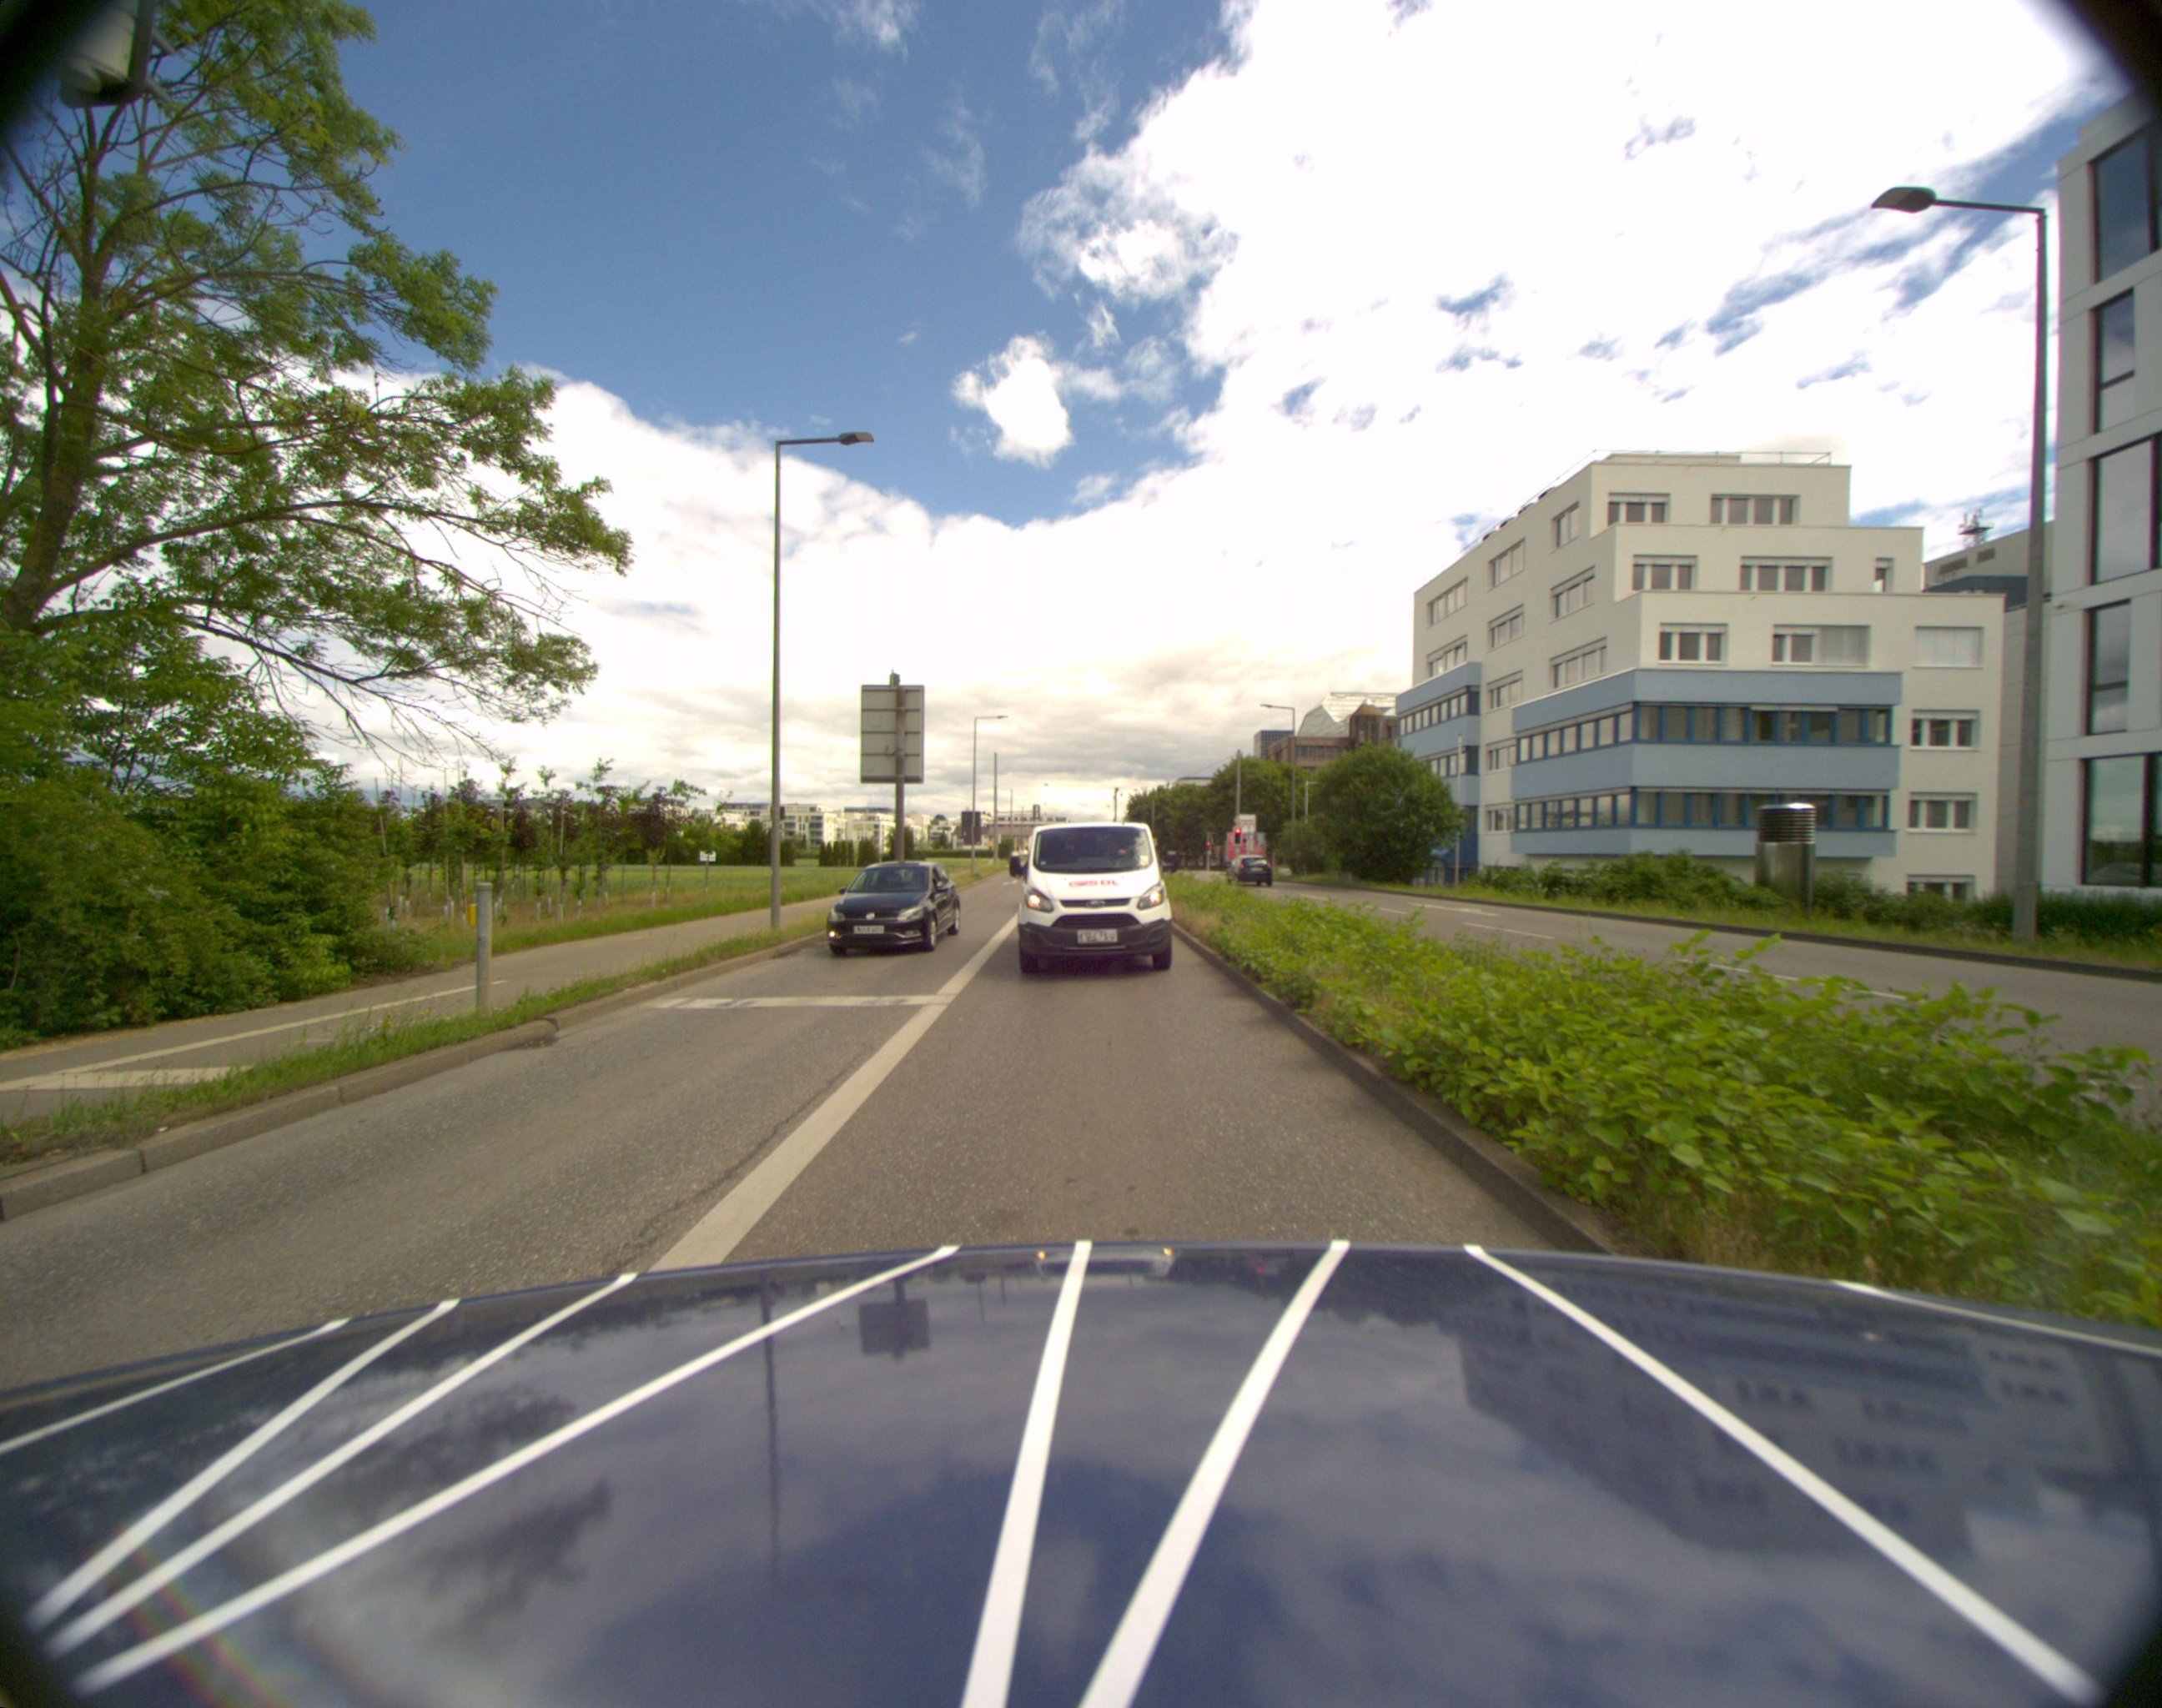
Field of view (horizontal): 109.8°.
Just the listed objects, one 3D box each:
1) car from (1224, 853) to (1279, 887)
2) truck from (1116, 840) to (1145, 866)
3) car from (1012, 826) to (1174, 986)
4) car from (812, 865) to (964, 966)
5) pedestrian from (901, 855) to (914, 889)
[{"bbox_3d":[8.109,0.743,36.457,1.758,1.438,3.891,-2,1,0],"label":"car"},{"bbox_3d":[6.944,-0.227,107.720,3.176,3.498,9.524,1,1,-1],"label":"truck"},{"bbox_3d":[0.149,0.632,11.920,1.968,1.938,5.054,-1,0,0],"label":"car"},{"bbox_3d":[-3.206,0.955,13.343,1.682,1.410,3.739,0,1,0],"label":"car"},{"bbox_3d":[-8.763,0.924,38.447,0.492,1.693,0.625,-2,1,-2],"label":"pedestrian"}]
